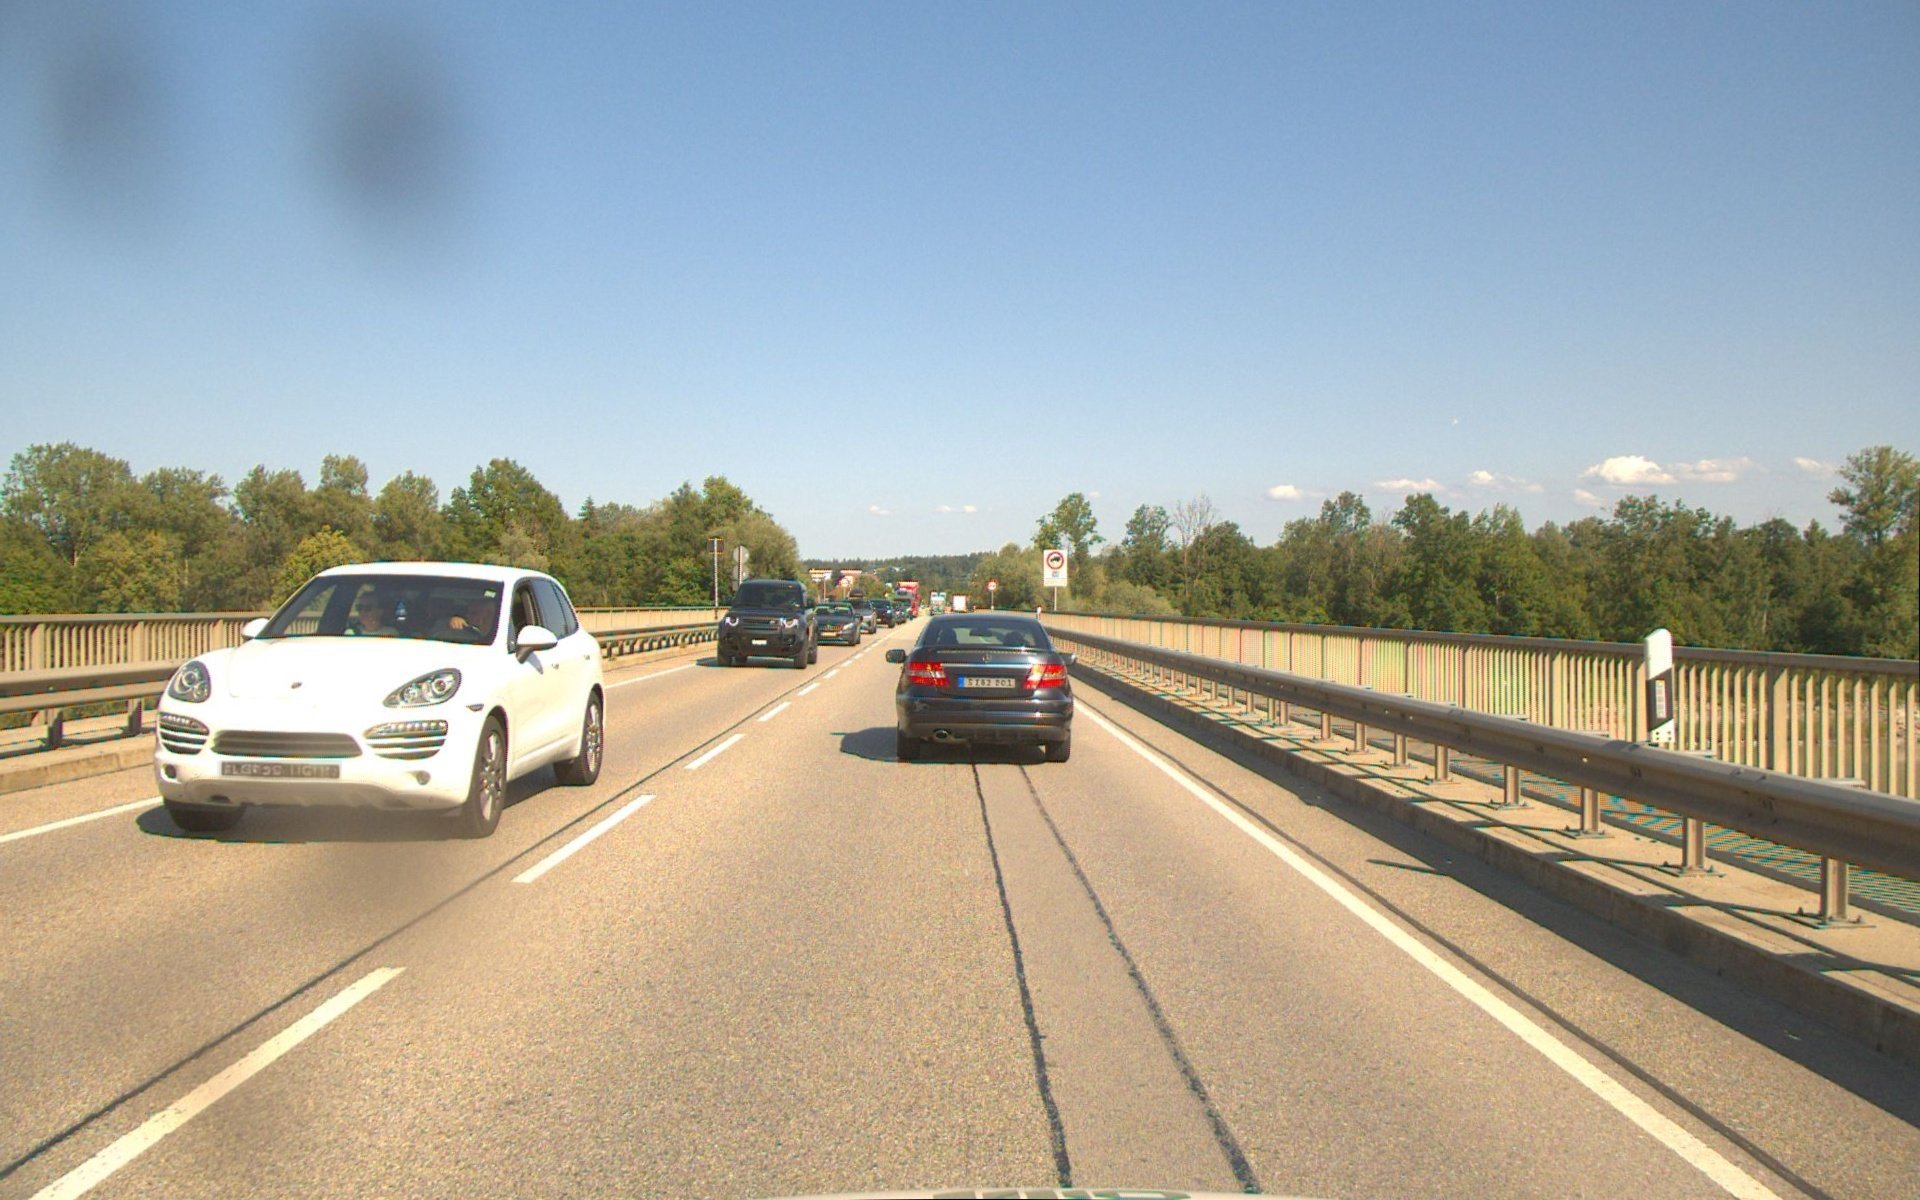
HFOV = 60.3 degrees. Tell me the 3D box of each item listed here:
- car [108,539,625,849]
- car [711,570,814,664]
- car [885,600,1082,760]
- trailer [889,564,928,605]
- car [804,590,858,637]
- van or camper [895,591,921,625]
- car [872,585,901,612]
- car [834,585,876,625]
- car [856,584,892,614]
[{"bbox_3d":[-3.765,0.515,11.504,1.943,1.680,4.597,1,0,-1],"label":"car"},{"bbox_3d":[-4.434,0.335,37.854,1.997,1.906,5.066,3,0,-4],"label":"car"},{"bbox_3d":[0.192,0.727,16.964,1.757,1.400,3.999,1,0,-1],"label":"car"},{"bbox_3d":[-6.264,-1.951,198.829,2.854,4.374,14.281,7,0,-7],"label":"trailer"},{"bbox_3d":[-4.411,0.440,56.822,1.731,1.472,4.453,1,1,-4],"label":"car"},{"bbox_3d":[-5.075,0.754,160.253,2.269,3.104,6.813,2,0,-3],"label":"van or camper"},{"bbox_3d":[-5.202,-0.109,117.199,1.772,1.603,4.197,7,0,-4],"label":"car"},{"bbox_3d":[-4.968,0.217,78.973,1.817,1.752,4.564,3,0,-2],"label":"car"},{"bbox_3d":[-5.314,-0.072,101.409,2.013,1.681,4.717,3,0,-4],"label":"car"}]
